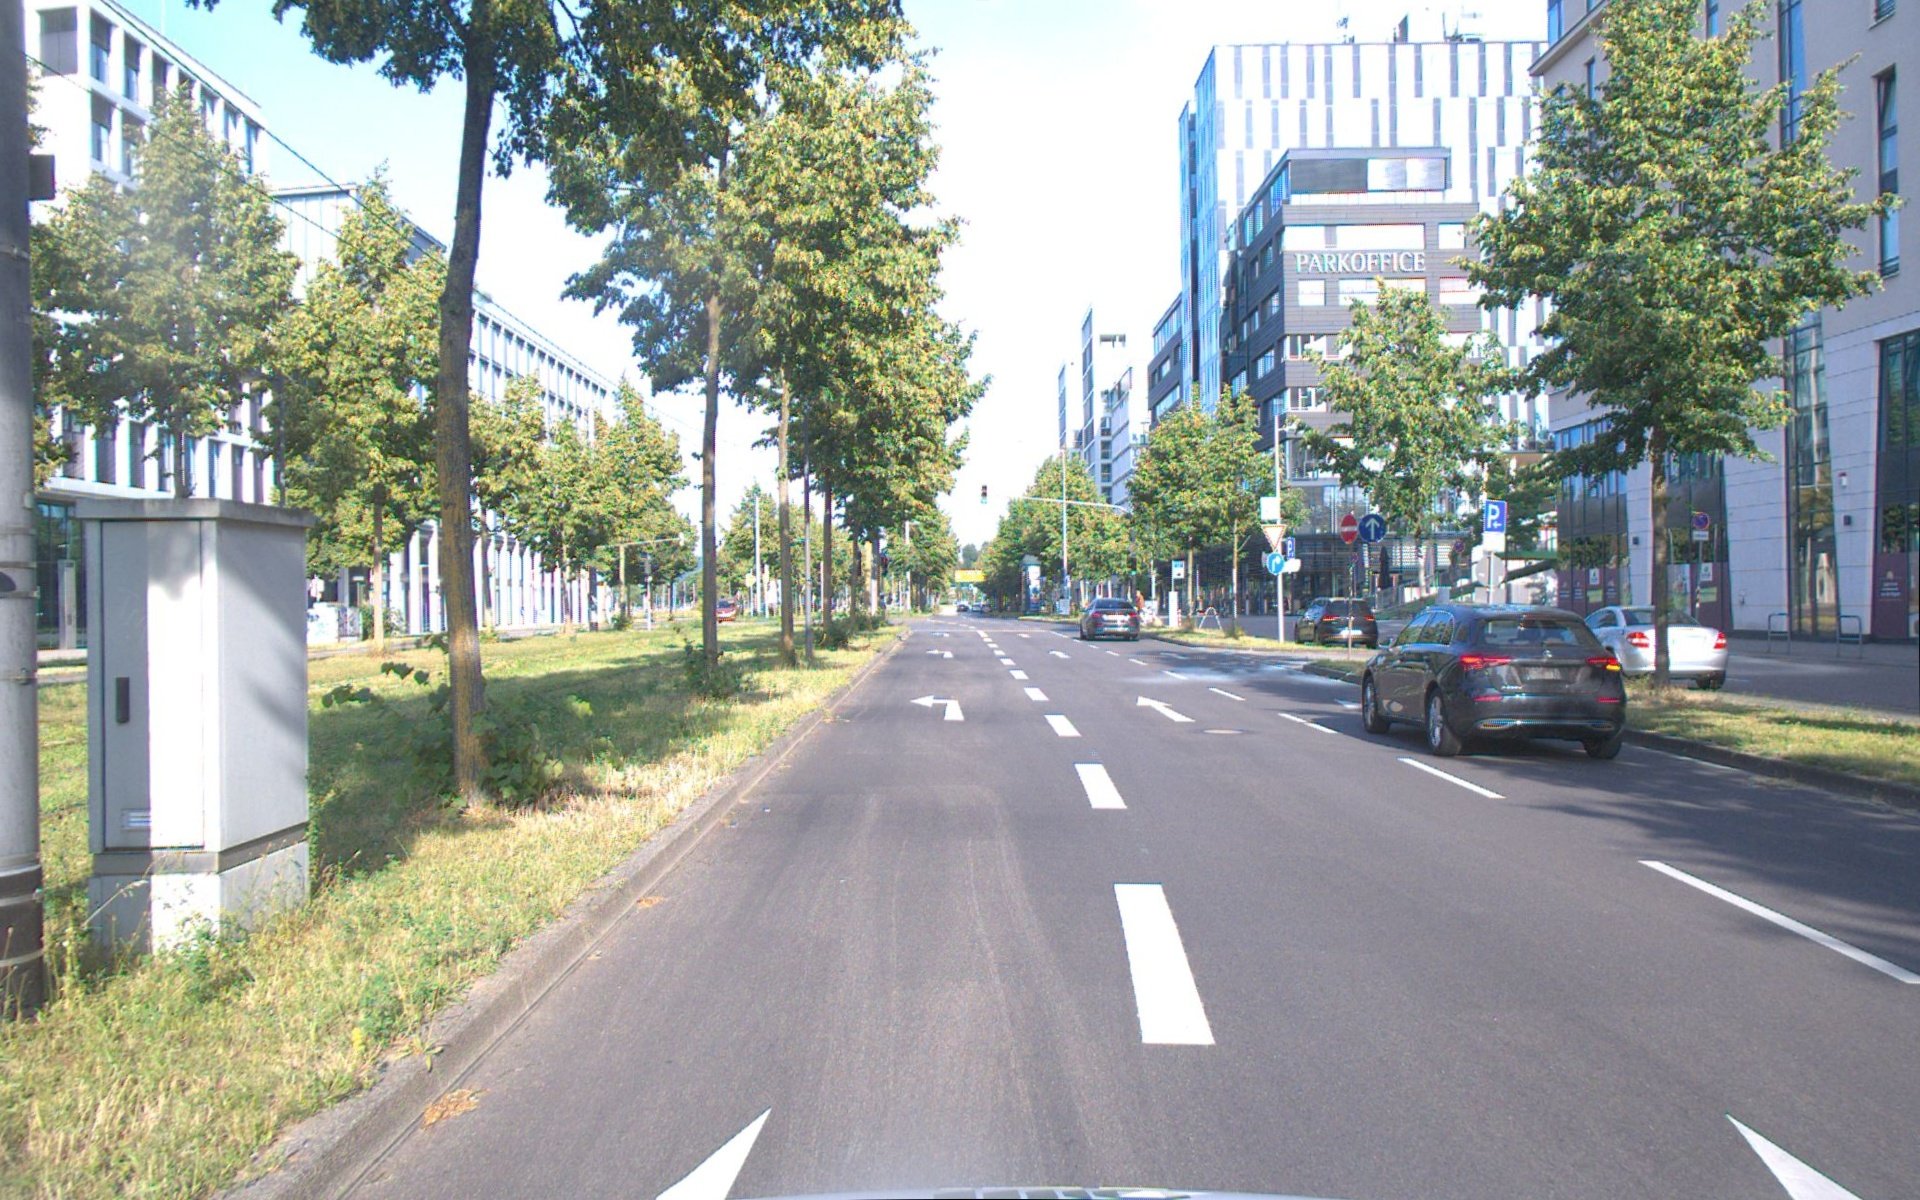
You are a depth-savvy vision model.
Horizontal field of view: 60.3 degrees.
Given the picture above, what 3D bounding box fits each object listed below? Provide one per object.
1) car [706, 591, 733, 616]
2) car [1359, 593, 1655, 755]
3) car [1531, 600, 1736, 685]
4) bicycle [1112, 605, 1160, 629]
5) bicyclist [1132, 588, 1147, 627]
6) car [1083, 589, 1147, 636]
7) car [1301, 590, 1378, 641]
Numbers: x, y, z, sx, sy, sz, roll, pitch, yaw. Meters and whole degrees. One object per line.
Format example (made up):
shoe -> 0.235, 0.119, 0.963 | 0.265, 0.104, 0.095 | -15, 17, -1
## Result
car -> -17.770, 0.270, 122.317 | 1.651, 1.806, 3.879 | 1, -1, -4
car -> 5.460, 0.690, 17.049 | 1.738, 1.449, 3.960 | 1, 0, 0
car -> 10.857, 0.662, 26.951 | 1.673, 1.264, 3.904 | 1, 0, -1
bicycle -> 7.936, 0.767, 74.645 | 2.092, 1.030, 0.571 | 1, -1, -5
bicyclist -> 8.087, 0.349, 74.673 | 0.563, 1.737, 0.540 | 1, -1, -5
car -> 5.274, 0.434, 56.828 | 1.822, 1.551, 3.785 | 1, 0, 0
car -> 10.963, 0.448, 47.984 | 1.573, 1.394, 4.159 | 1, 0, 4
